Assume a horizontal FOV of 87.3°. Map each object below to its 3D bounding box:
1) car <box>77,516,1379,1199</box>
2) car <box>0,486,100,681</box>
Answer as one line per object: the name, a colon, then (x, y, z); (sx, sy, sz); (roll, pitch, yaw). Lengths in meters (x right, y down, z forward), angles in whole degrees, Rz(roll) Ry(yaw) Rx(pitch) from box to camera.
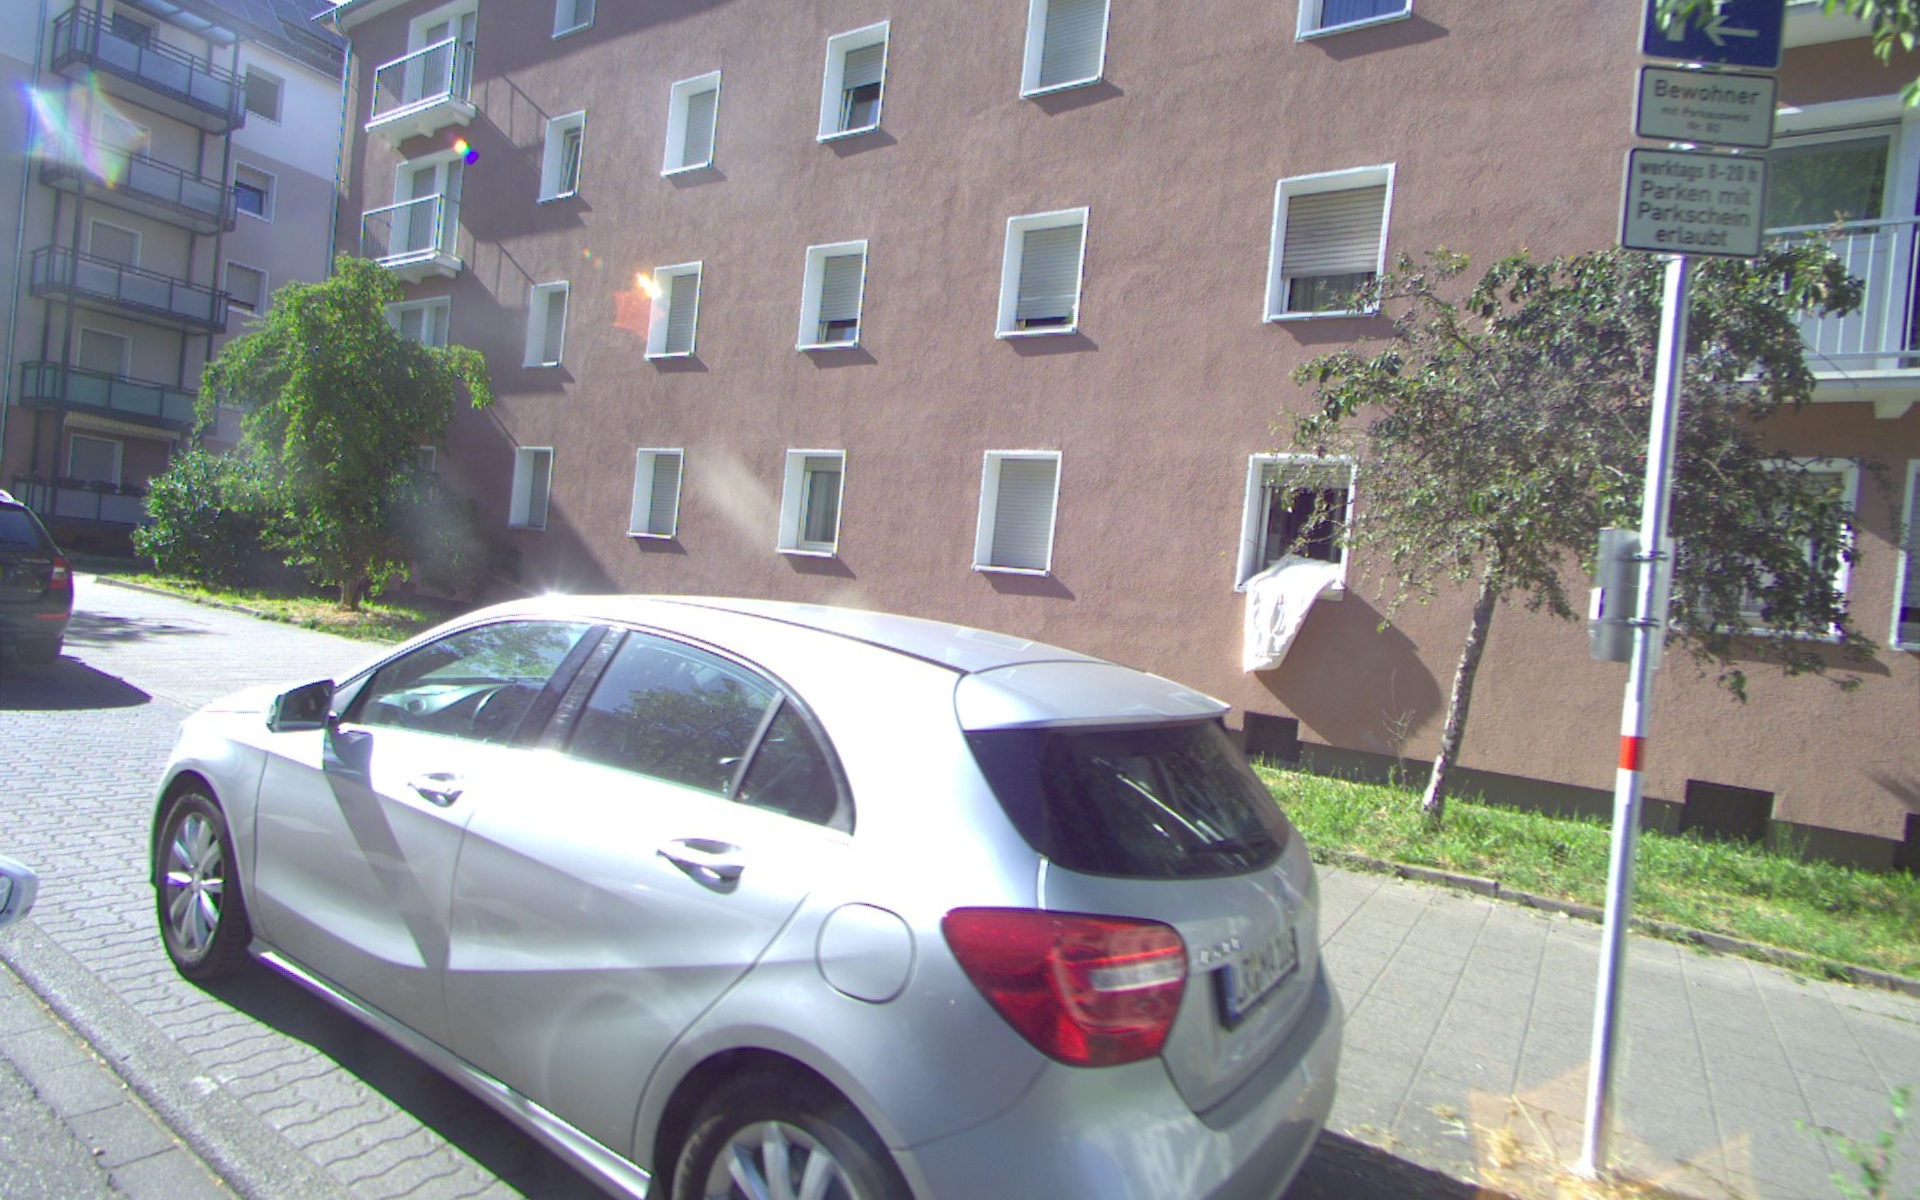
car: (-1.051, 0.665, 3.281); (4.089, 1.472, 1.740); (6, 1, 34)
car: (-9.473, -0.331, 8.887); (4.240, 1.539, 1.782); (6, 2, 35)
